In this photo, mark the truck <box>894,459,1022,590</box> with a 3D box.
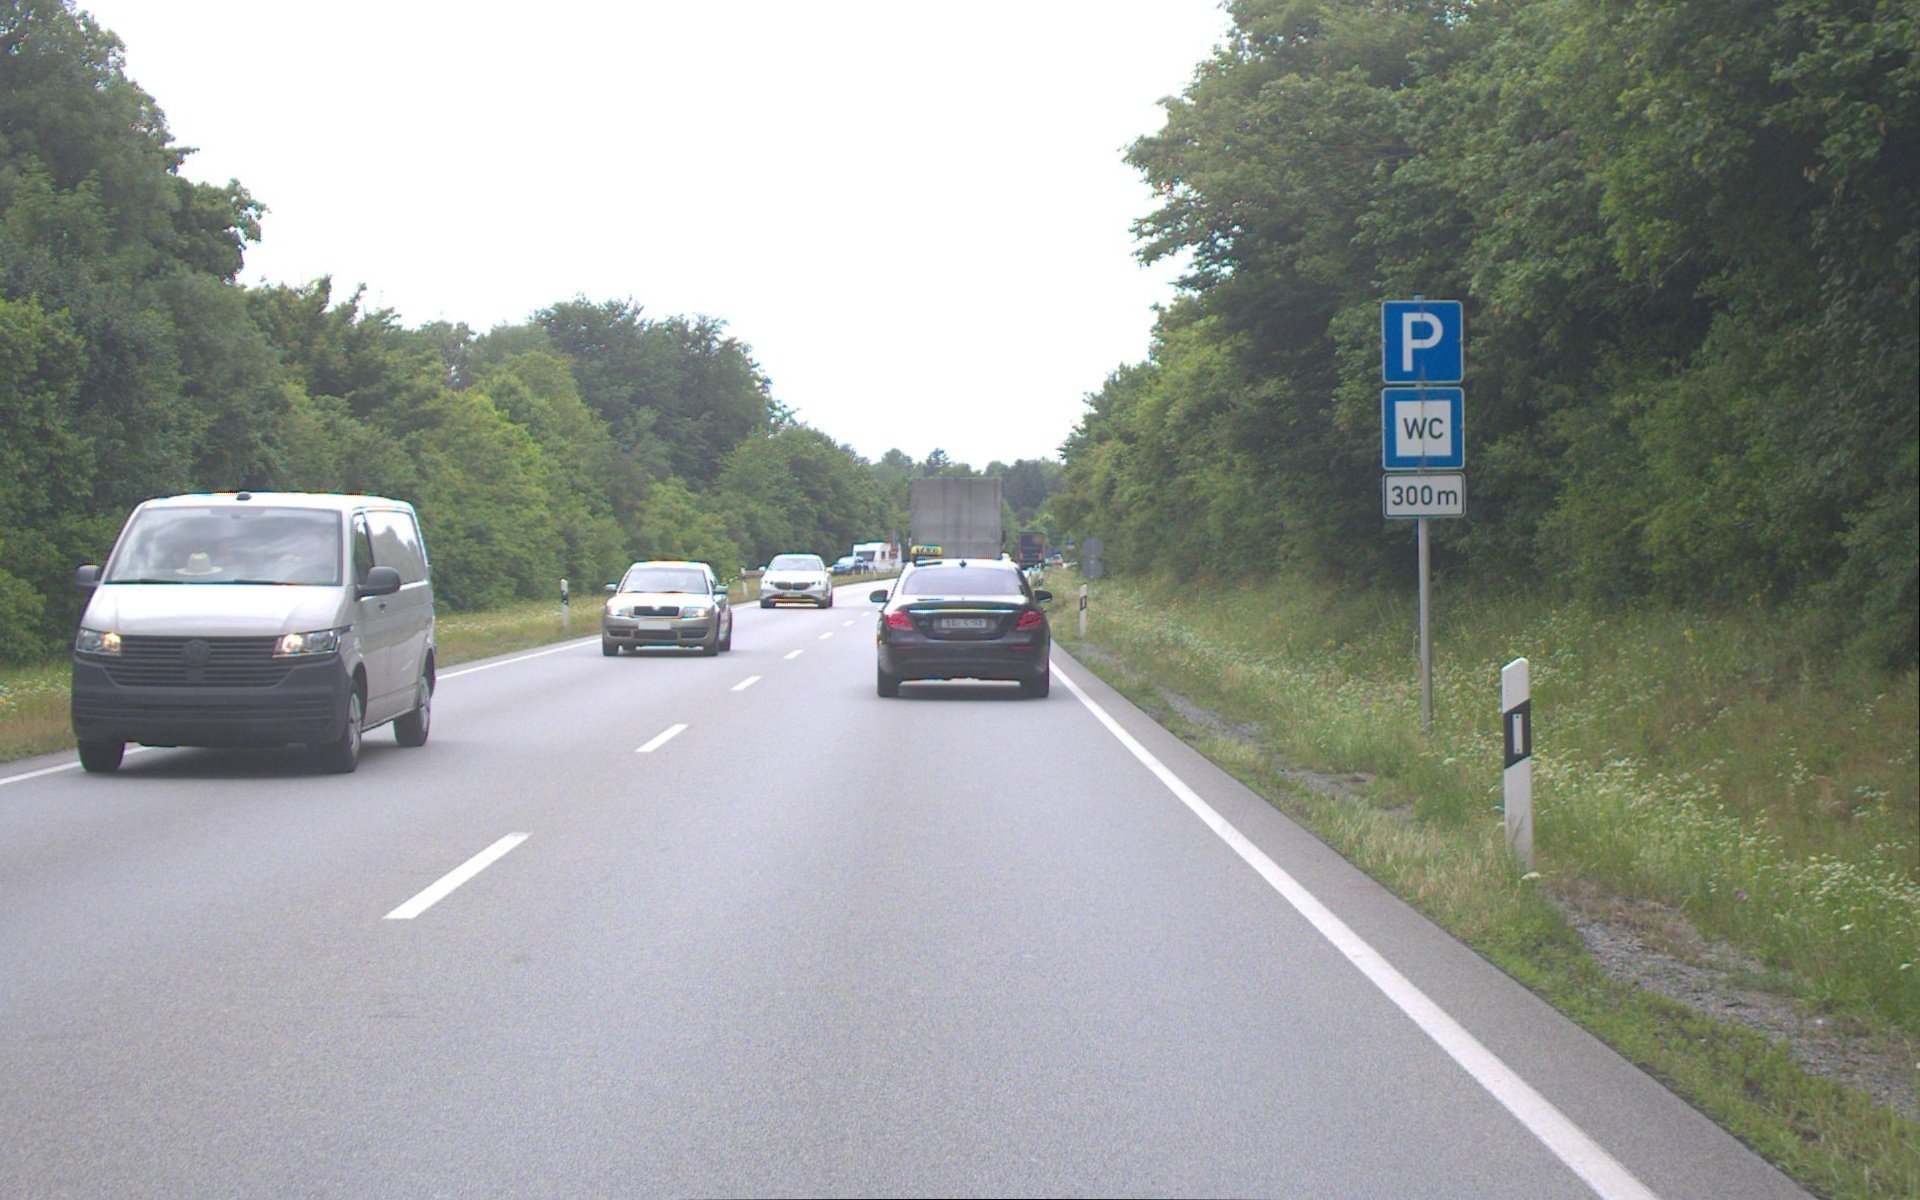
[{"bbox_3d":[0.044,-2.167,101.364,3.281,3.599,11.399,1,1,2],"label":"truck"}]

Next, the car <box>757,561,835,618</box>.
[{"bbox_3d":[-4.684,-0.320,98.898,1.964,1.568,5.452,1,1,0],"label":"car"}]

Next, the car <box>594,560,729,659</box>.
[{"bbox_3d":[-4.553,0.118,53.011,1.725,1.429,4.503,1,1,-1],"label":"car"}]

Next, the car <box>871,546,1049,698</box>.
[{"bbox_3d":[-0.050,0.207,37.323,1.791,1.547,4.000,1,1,-2],"label":"car"}]

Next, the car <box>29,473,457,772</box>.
[{"bbox_3d":[-5.132,0.121,25.487,1.993,1.933,5.811,1,1,-1],"label":"car"}]
